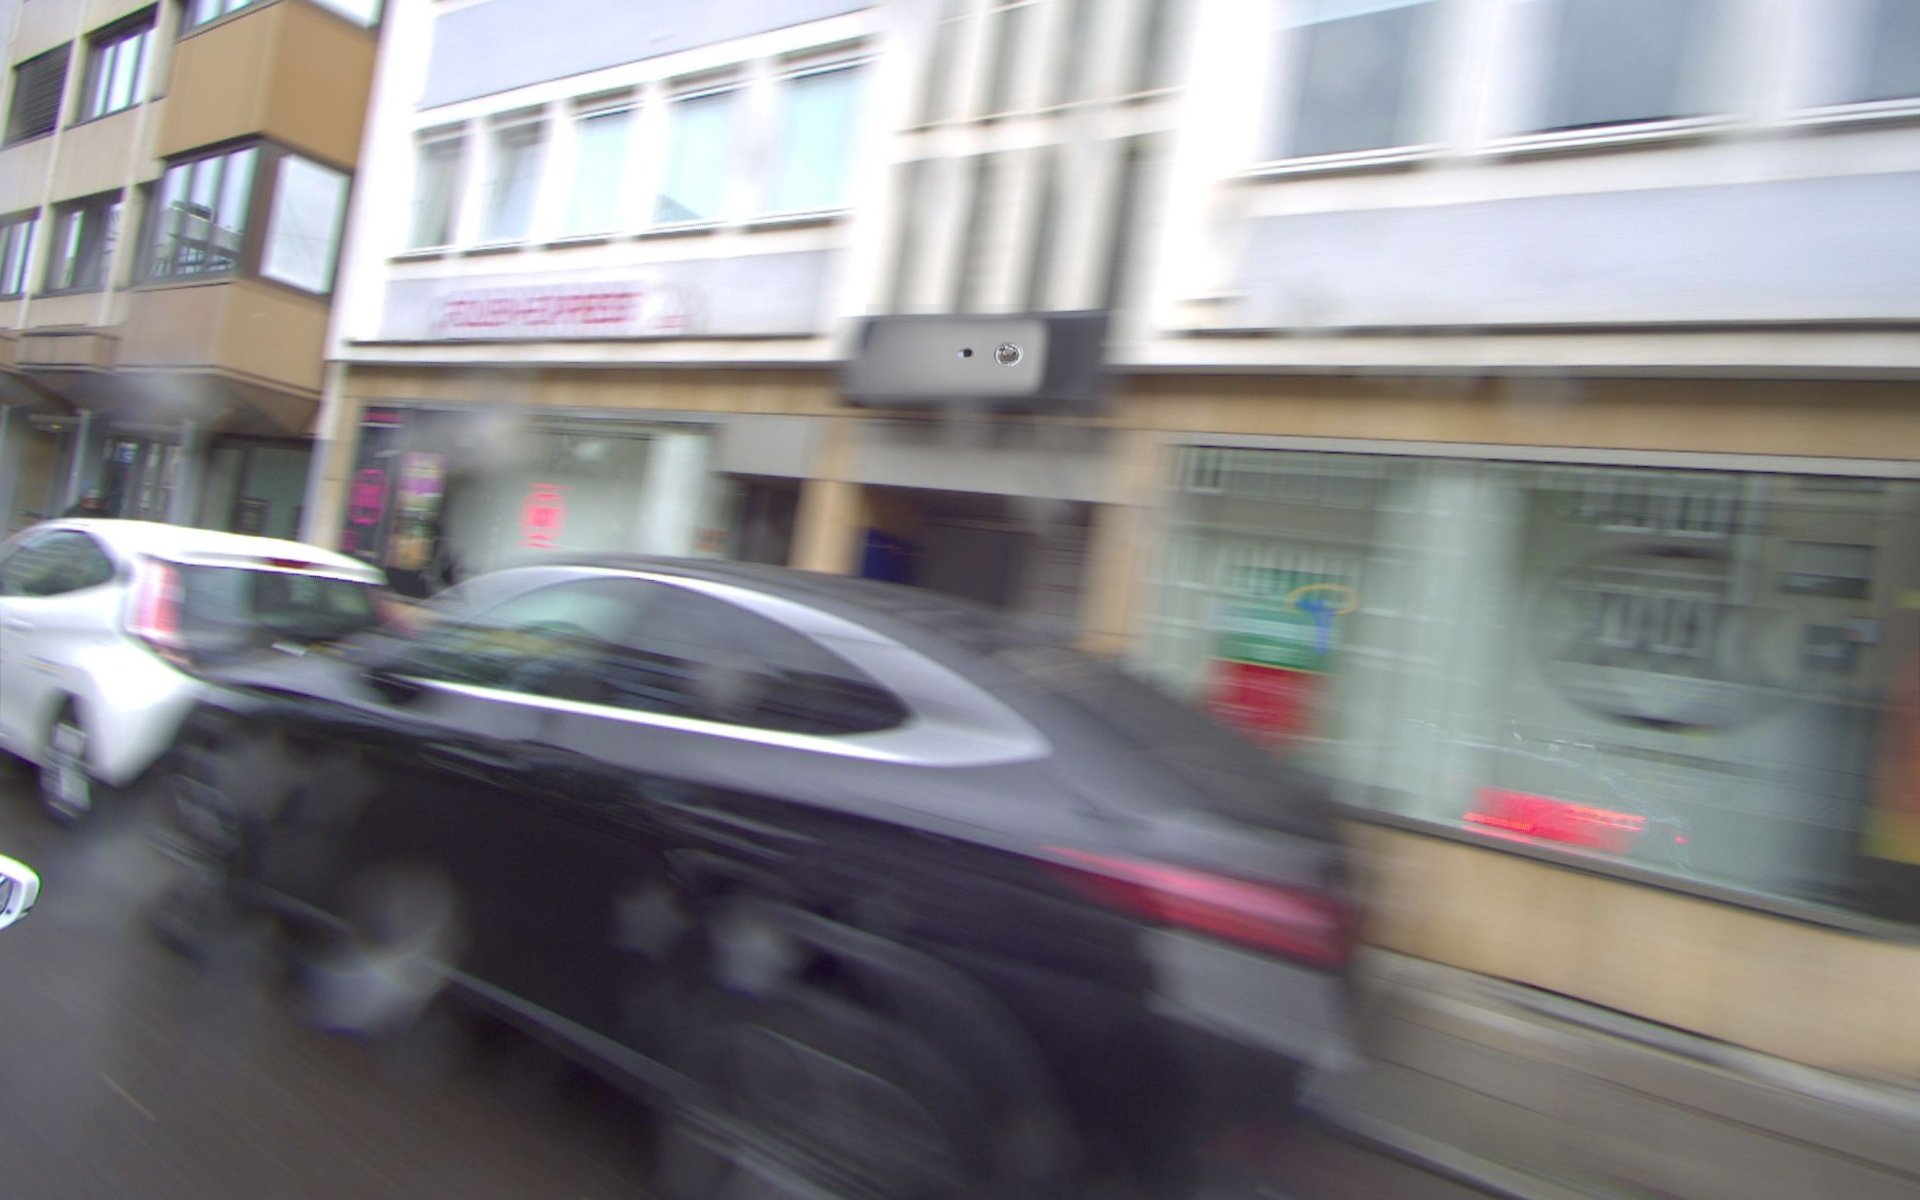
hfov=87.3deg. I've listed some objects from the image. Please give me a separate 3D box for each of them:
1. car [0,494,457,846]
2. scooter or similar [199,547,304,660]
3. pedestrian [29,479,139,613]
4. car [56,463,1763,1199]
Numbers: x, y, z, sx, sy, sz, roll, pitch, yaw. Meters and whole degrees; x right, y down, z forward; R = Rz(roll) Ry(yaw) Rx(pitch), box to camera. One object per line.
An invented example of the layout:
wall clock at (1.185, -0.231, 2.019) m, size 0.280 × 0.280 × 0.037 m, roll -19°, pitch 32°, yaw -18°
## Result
car at (-4.861, 0.261, 6.029) m, size 3.506 × 1.493 × 1.561 m, roll 7°, pitch -2°, yaw 32°
scooter or similar at (-7.804, 0.025, 11.072) m, size 1.211 × 1.095 × 0.210 m, roll 7°, pitch -1°, yaw 23°
pedestrian at (-11.958, -0.730, 13.742) m, size 0.949 × 1.670 × 0.697 m, roll 7°, pitch -2°, yaw 30°
car at (-0.782, 0.633, 3.382) m, size 5.083 × 1.650 × 1.812 m, roll 7°, pitch -2°, yaw 31°
